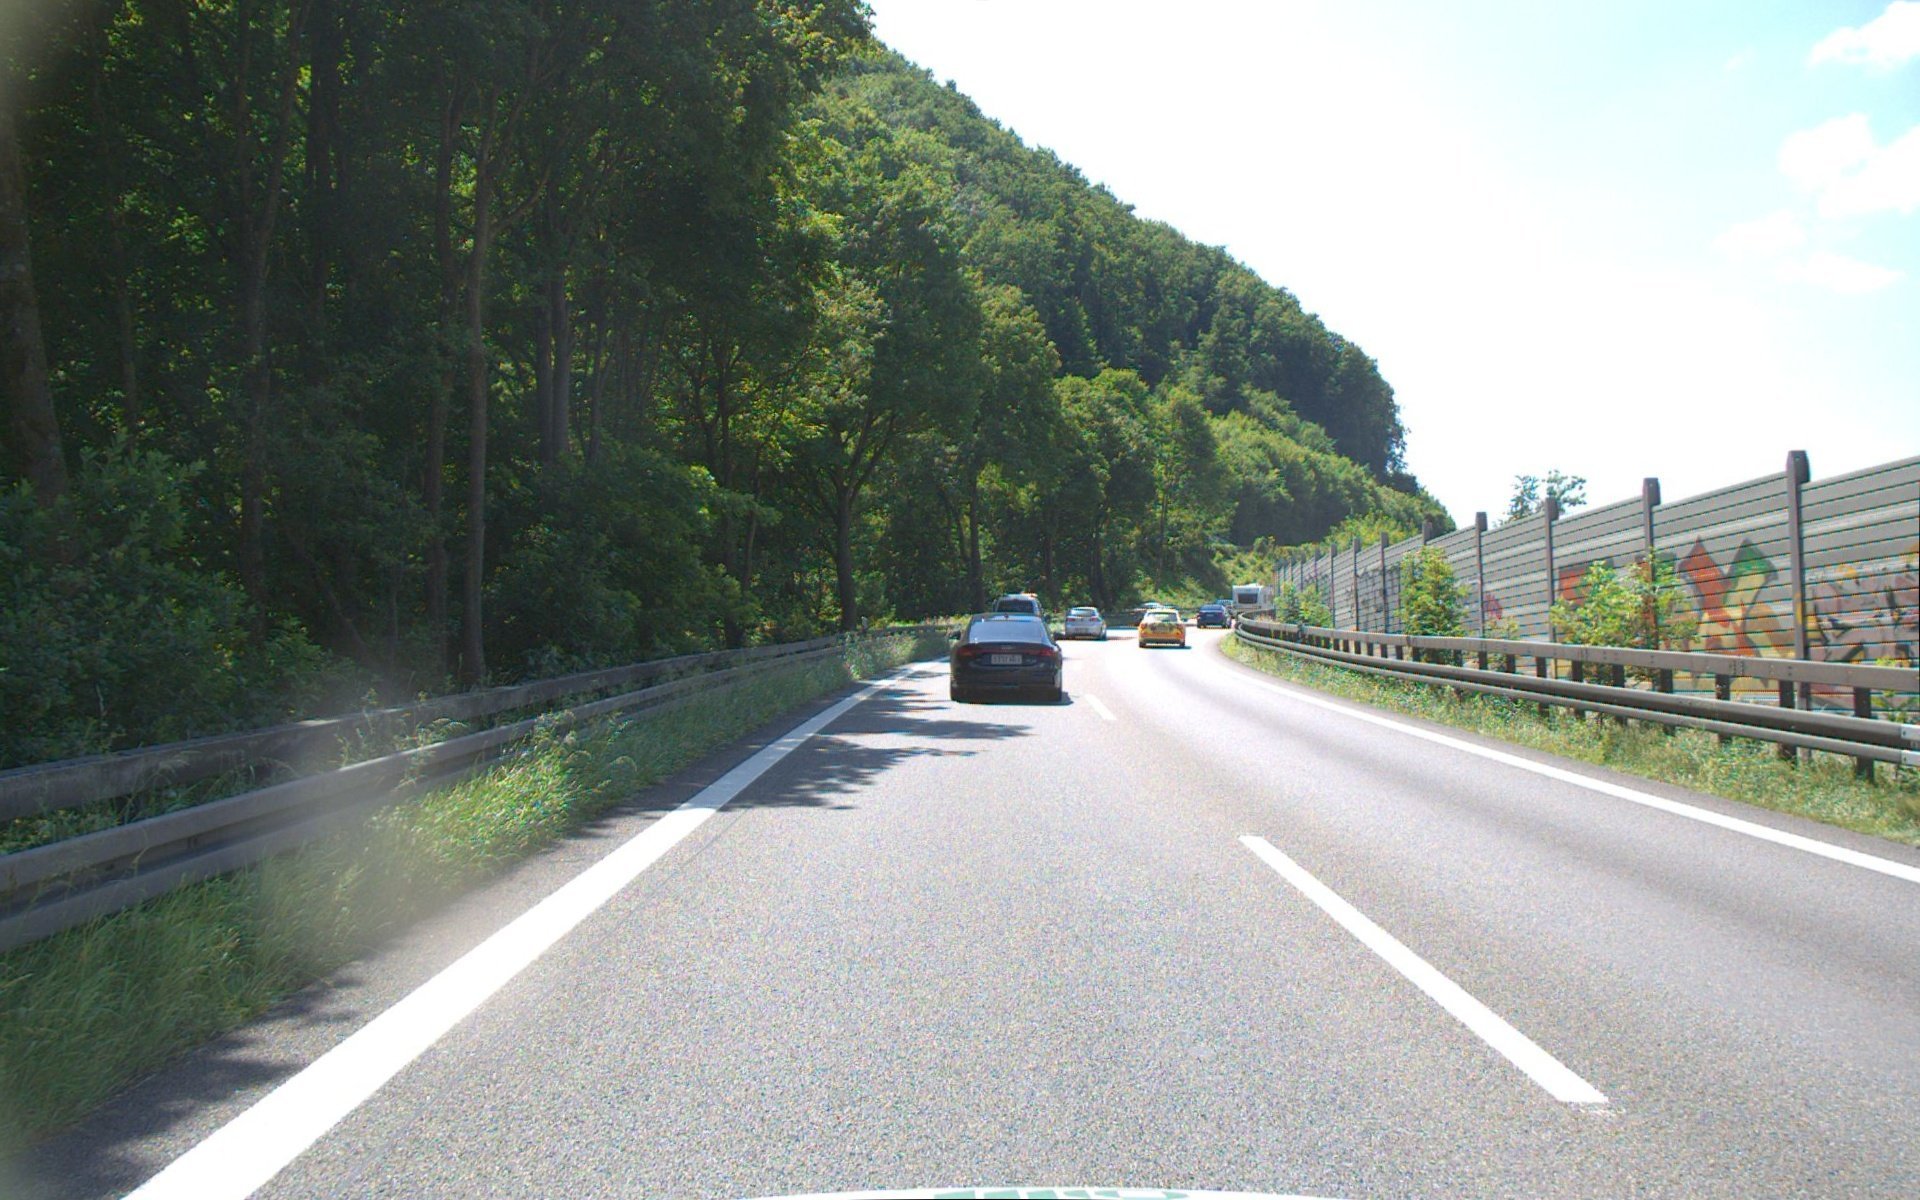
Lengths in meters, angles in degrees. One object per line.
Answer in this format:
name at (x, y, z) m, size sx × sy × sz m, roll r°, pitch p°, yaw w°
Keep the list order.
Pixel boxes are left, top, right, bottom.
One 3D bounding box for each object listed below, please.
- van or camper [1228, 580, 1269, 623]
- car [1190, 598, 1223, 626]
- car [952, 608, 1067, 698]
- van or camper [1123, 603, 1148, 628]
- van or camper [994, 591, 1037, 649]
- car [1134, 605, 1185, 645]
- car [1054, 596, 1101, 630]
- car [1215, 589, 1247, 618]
van or camper at (21.401, 0.095, 122.605) m, size 2.403 × 2.969 × 6.130 m, roll -4°, pitch -1°, yaw 14°
car at (15.412, 0.758, 103.374) m, size 1.736 × 1.665 × 4.002 m, roll -1°, pitch -1°, yaw 4°
car at (0.792, 0.868, 28.150) m, size 1.800 × 1.373 × 4.000 m, roll 1°, pitch -1°, yaw 0°
van or camper at (11.335, 0.990, 106.607) m, size 1.524 × 1.561 × 3.507 m, roll -1°, pitch -1°, yaw 6°
van or camper at (1.832, 0.661, 54.600) m, size 1.363 × 1.848 × 4.001 m, roll -1°, pitch -1°, yaw 2°
car at (7.681, 0.964, 63.977) m, size 1.823 × 1.514 × 4.002 m, roll -1°, pitch -1°, yaw 5°
car at (5.211, 0.603, 73.793) m, size 1.711 × 1.456 × 3.999 m, roll 0°, pitch -1°, yaw -1°
car at (21.909, 0.295, 133.686) m, size 1.952 × 2.048 × 4.003 m, roll -7°, pitch -2°, yaw 15°
